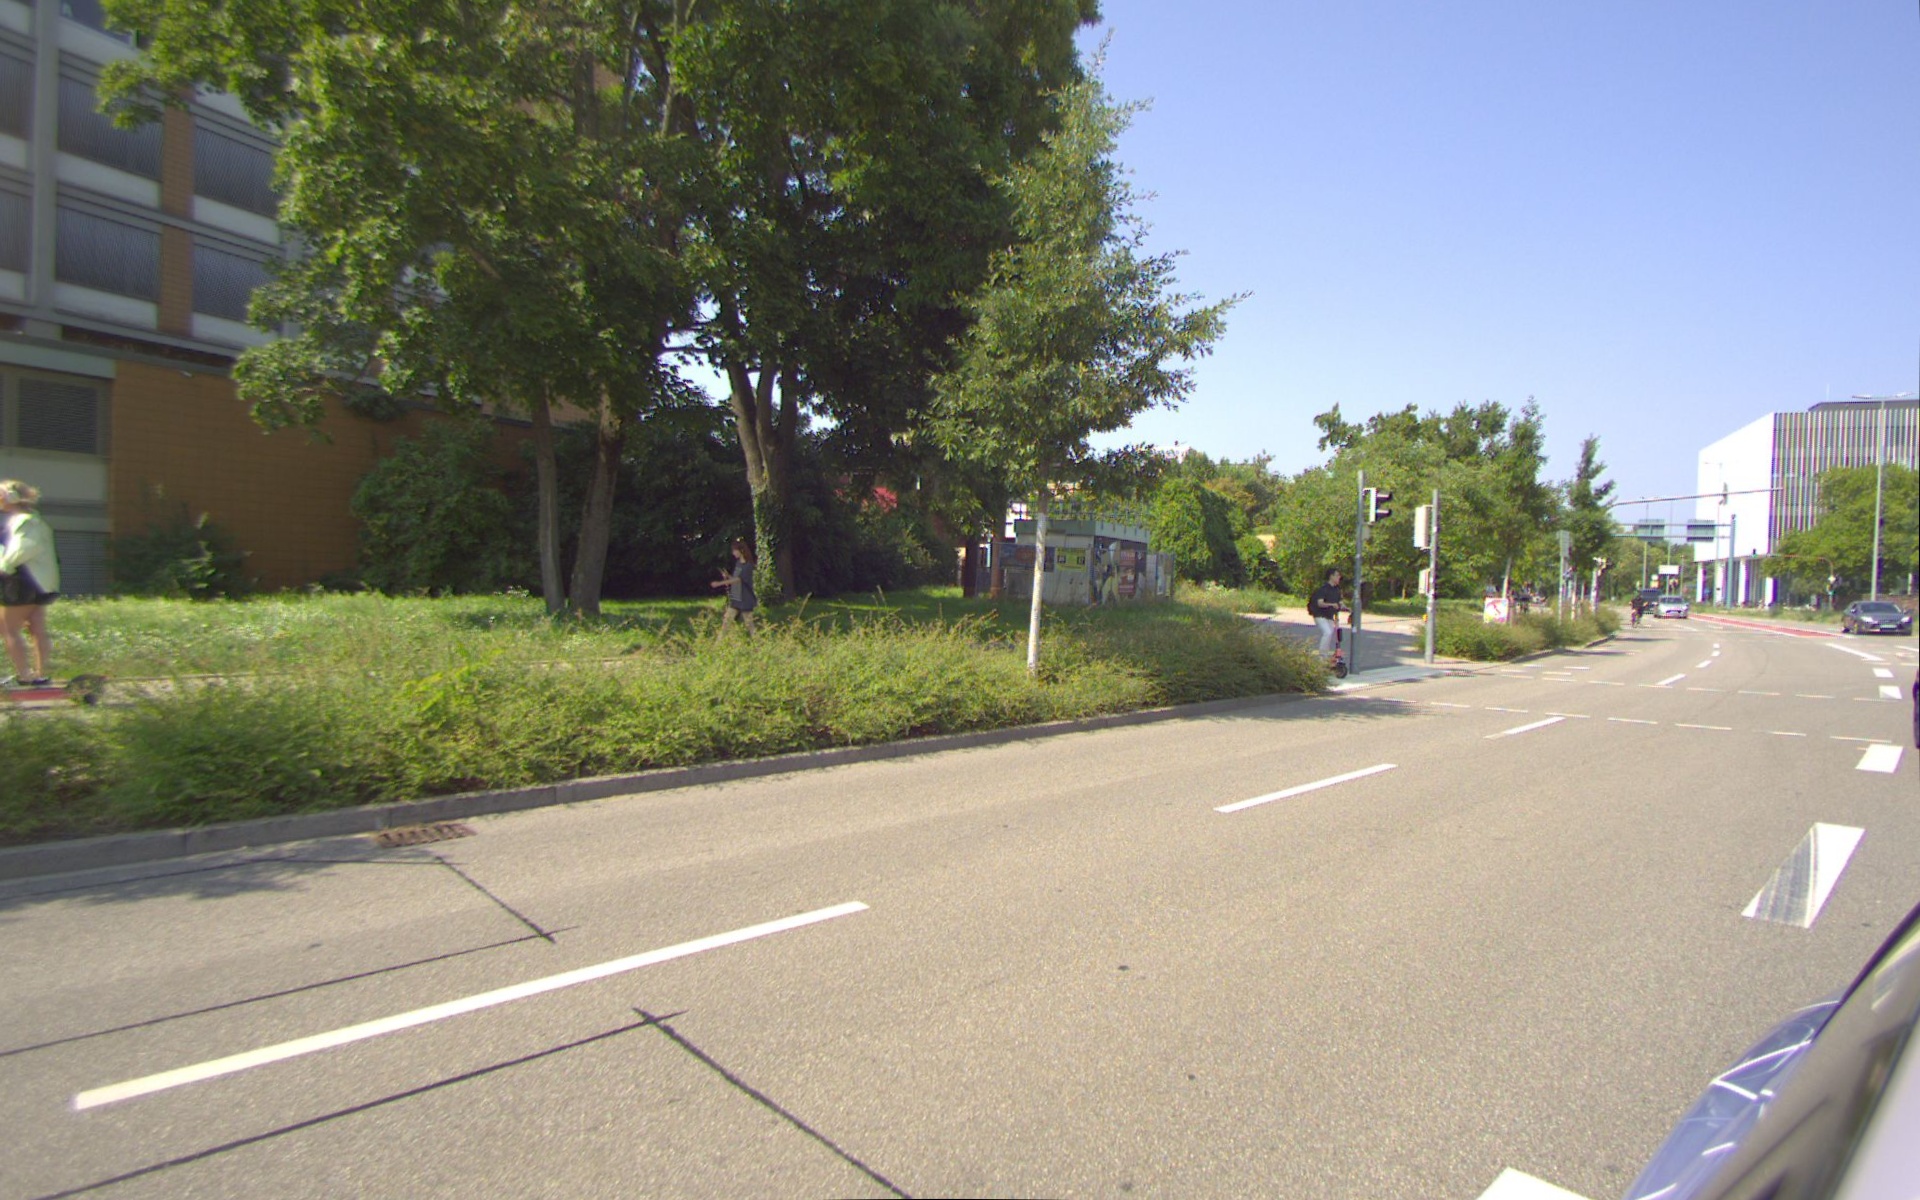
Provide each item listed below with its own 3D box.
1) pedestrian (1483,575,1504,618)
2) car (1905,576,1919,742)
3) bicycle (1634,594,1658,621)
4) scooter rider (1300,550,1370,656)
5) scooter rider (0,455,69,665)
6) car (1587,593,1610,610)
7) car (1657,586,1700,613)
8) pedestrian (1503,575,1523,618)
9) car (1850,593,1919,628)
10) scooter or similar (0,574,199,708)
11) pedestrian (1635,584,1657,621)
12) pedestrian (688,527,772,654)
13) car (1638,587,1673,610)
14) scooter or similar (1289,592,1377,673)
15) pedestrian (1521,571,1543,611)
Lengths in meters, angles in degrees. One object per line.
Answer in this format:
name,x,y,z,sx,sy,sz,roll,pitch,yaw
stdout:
pedestrian,22.865,-0.173,43.361,0.689,1.793,0.581,3,2,32
car,9.541,0.599,8.542,1.835,1.635,3.947,0,1,37
bicycle,32.185,0.339,47.523,0.780,1.227,1.769,3,2,31
scooter rider,6.380,0.039,17.251,0.674,1.760,0.807,1,2,-23
scooter rider,-7.985,-0.348,8.610,0.671,1.720,0.530,6,3,44
car,72.682,0.189,115.163,1.984,1.801,3.957,3,2,30
car,49.131,-0.043,69.291,1.984,1.699,3.957,3,2,30
pedestrian,23.571,-0.155,43.135,0.689,1.793,0.581,3,2,32
car,39.263,0.421,42.778,1.777,1.374,3.388,1,1,30
scooter or similar,-7.880,0.331,8.786,0.557,1.072,1.972,6,4,44
pedestrian,32.125,0.123,47.407,0.775,1.689,0.543,3,2,32
pedestrian,-3.302,-0.147,14.528,0.706,1.725,0.865,6,4,43
car,56.798,-0.155,82.692,1.984,1.801,3.957,3,2,30
scooter or similar,6.322,0.534,17.229,0.573,1.249,1.371,1,3,-22
pedestrian,26.175,-0.406,46.280,0.788,1.790,0.817,3,2,31
